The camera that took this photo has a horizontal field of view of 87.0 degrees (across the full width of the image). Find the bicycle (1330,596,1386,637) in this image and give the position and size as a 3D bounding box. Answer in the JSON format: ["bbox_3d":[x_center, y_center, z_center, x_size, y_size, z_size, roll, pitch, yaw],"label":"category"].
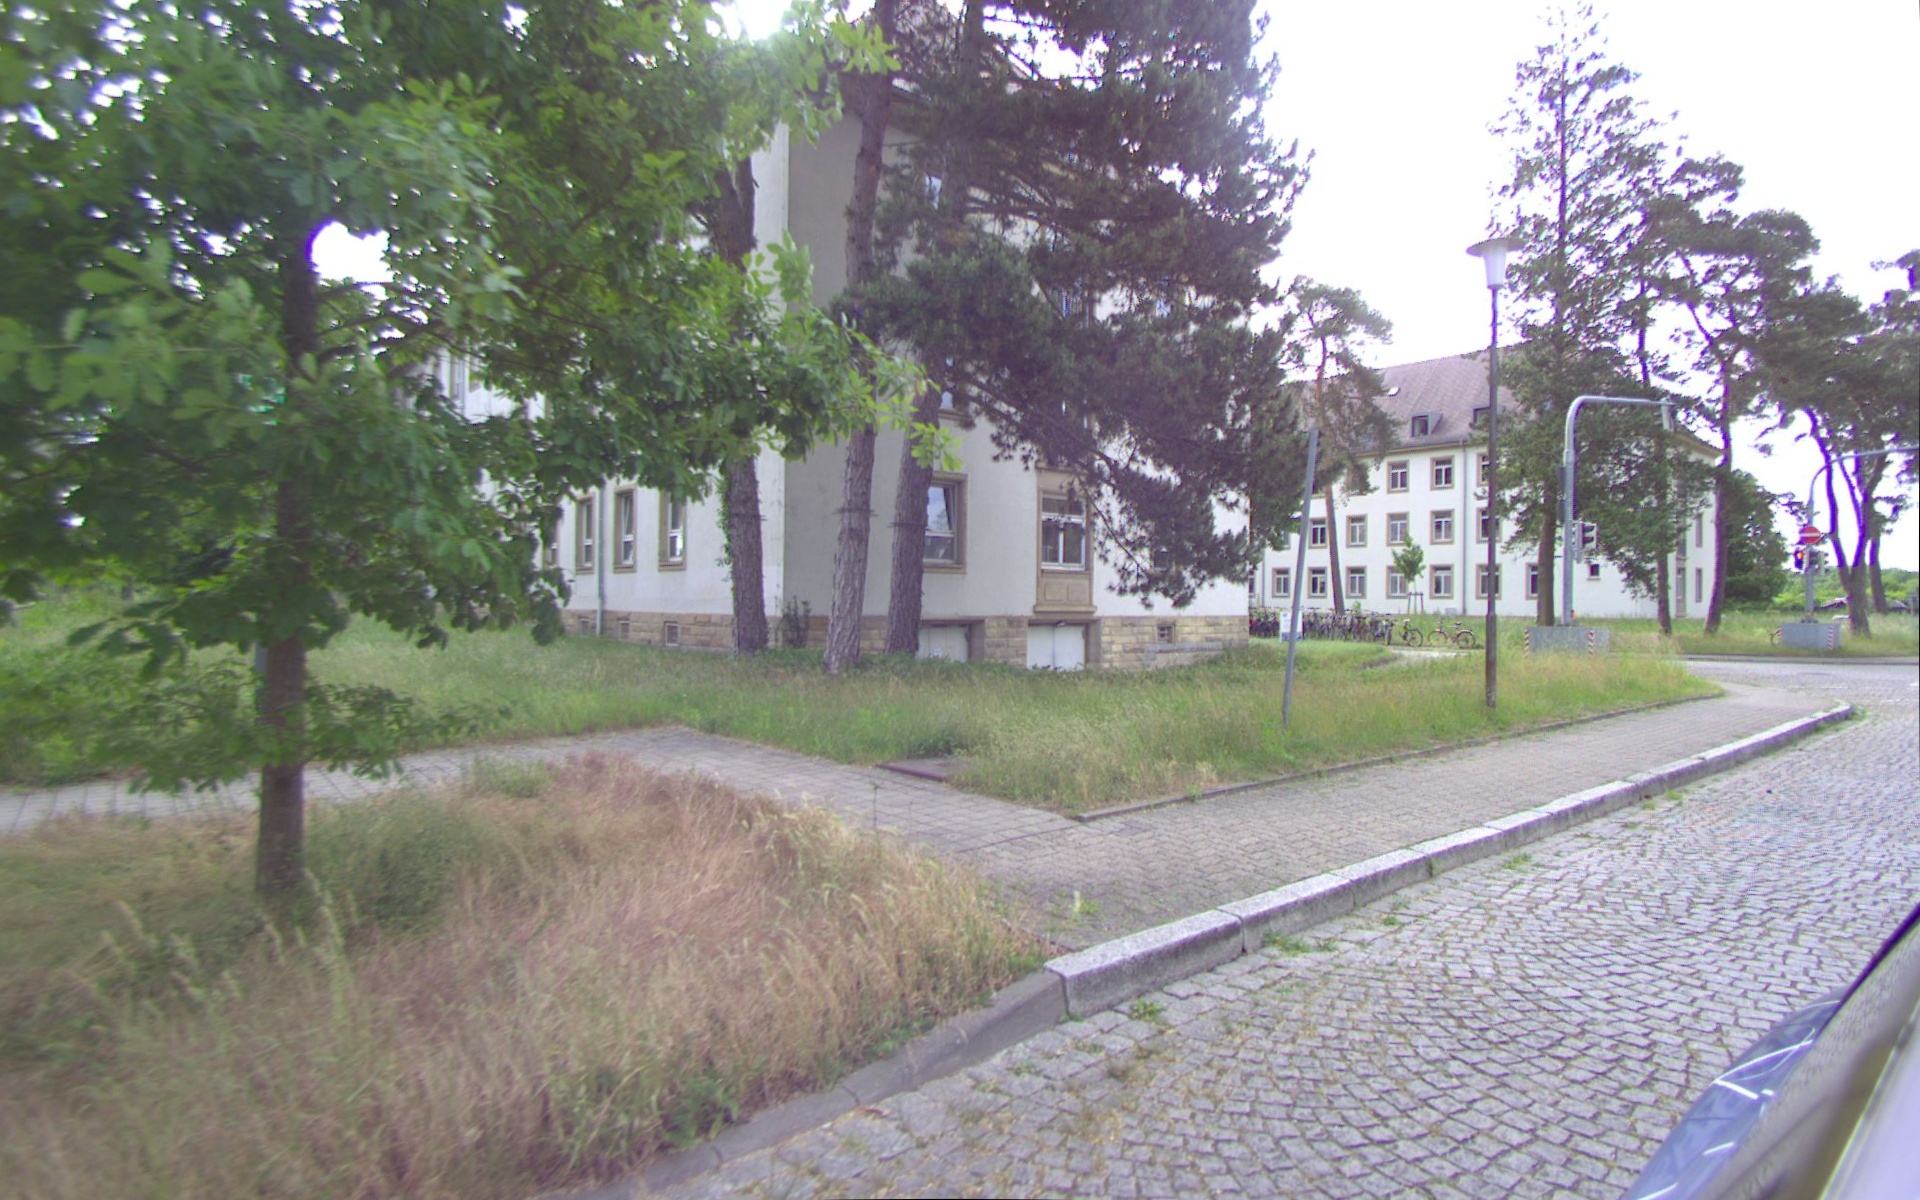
[{"bbox_3d":[16.165,0.659,41.068,2.763,1.604,0.949,1,-1,-41],"label":"bicycle"}]

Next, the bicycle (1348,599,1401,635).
[{"bbox_3d":[16.468,0.676,40.182,2.582,1.385,0.873,1,-1,-41],"label":"bicycle"}]

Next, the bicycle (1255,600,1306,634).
[{"bbox_3d":[13.739,0.724,43.354,2.532,1.389,0.949,1,-1,-42],"label":"bicycle"}]

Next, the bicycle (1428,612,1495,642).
[{"bbox_3d":[17.924,0.954,36.173,0.888,1.009,1.975,1,0,-41],"label":"bicycle"}]

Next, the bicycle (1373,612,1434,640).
[{"bbox_3d":[16.517,0.958,37.717,0.716,1.009,1.978,1,0,-36],"label":"bicycle"}]

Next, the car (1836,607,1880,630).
[{"bbox_3d":[62.897,1.291,70.843,3.628,1.553,1.771,1,0,-39],"label":"car"}]

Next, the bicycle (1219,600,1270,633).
[{"bbox_3d":[12.523,0.723,44.517,2.532,1.389,0.949,1,-1,-42],"label":"bicycle"}]

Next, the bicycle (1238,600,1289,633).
[{"bbox_3d":[13.186,0.726,43.985,2.532,1.389,0.949,1,-1,-42],"label":"bicycle"}]

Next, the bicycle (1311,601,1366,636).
[{"bbox_3d":[15.659,0.761,41.858,2.763,1.389,0.949,1,-1,-41],"label":"bicycle"}]

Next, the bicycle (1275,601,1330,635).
[{"bbox_3d":[14.471,0.754,42.715,2.763,1.389,0.949,1,-1,-41],"label":"bicycle"}]

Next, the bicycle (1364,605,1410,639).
[{"bbox_3d":[16.720,0.847,39.591,2.083,1.323,0.873,1,-1,-41],"label":"bicycle"}]

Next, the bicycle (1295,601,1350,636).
[{"bbox_3d":[15.070,0.753,42.054,2.763,1.389,0.949,1,-1,-41],"label":"bicycle"}]
